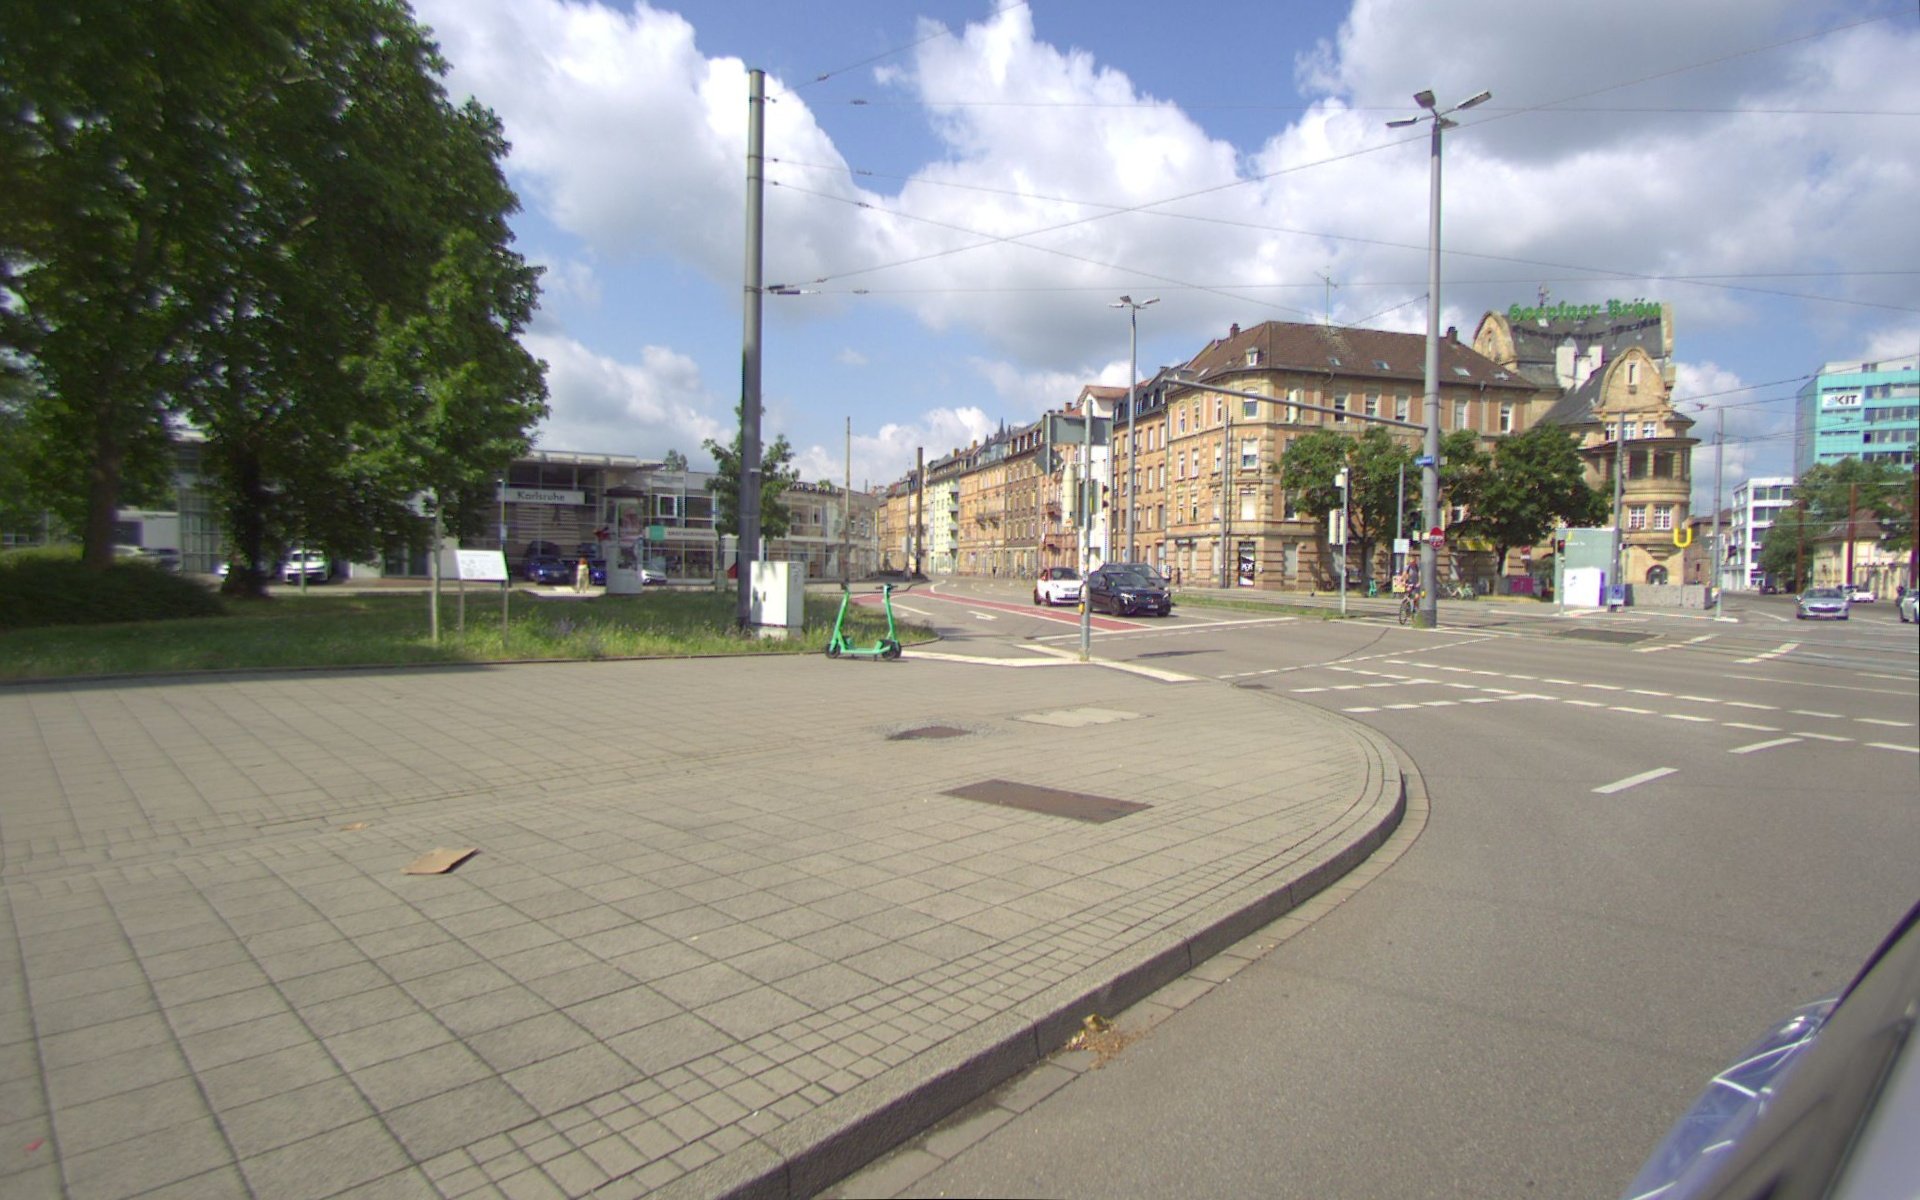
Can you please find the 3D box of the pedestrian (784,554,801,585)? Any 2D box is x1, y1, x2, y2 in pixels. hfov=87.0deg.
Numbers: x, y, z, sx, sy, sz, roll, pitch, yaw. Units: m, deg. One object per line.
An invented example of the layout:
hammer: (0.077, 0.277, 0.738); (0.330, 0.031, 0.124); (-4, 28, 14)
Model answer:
pedestrian: (-11.153, -2.040, 67.222); (0.699, 2.038, 0.860); (2, 2, 36)

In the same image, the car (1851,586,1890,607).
car: (93.972, -0.311, 104.483); (1.982, 2.039, 3.961); (2, 0, 28)

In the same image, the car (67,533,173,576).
car: (-44.745, -2.400, 54.010); (3.916, 2.039, 2.004); (2, 0, -24)

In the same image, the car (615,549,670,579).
car: (-19.416, -2.195, 61.758); (1.899, 1.704, 3.997); (2, 1, -38)

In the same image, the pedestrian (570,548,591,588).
pedestrian: (-19.208, -1.620, 51.201); (0.794, 2.038, 0.808); (0, 2, -34)

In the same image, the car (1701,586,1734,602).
car: (70.134, -0.566, 93.761); (1.854, 1.401, 3.958); (2, 0, 29)

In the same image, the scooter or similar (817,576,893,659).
scooter or similar: (-1.601, 0.258, 15.471); (1.047, 1.211, 0.381); (2, 0, 8)

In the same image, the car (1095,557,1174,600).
car: (6.828, -0.886, 39.994); (1.959, 1.593, 3.744); (1, 2, -9)

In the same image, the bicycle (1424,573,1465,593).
bicycle: (29.917, -1.041, 62.537); (0.745, 1.180, 2.691); (1, 2, -12)

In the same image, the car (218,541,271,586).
car: (-36.210, -1.841, 51.167); (1.963, 2.039, 3.998); (3, 0, -38)

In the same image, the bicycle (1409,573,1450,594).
bicycle: (28.898, -1.026, 62.328); (0.745, 1.180, 2.691); (1, 2, -12)

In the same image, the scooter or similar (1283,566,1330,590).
scooter or similar: (21.257, -1.335, 62.124); (1.155, 1.403, 2.810); (2, 0, -20)

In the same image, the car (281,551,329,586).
car: (-34.174, -1.658, 52.761); (1.758, 1.703, 3.999); (0, 2, -38)

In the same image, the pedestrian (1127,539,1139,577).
pedestrian: (14.388, -3.498, 84.137); (0.712, 3.114, 0.889); (2, 0, -5)

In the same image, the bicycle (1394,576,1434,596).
bicycle: (27.861, -0.884, 62.190); (0.745, 1.180, 2.691); (1, 2, -12)

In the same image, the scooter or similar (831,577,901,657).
scooter or similar: (-1.481, 0.263, 15.957); (1.044, 1.211, 0.382); (2, 0, -3)

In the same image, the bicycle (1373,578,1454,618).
bicycle: (13.119, -0.064, 29.295); (2.151, 1.084, 0.879); (2, 0, -23)

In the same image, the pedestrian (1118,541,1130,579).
pedestrian: (13.620, -3.320, 84.109); (0.655, 3.160, 0.889); (2, 0, -5)

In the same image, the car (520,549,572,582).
car: (-23.692, -1.974, 57.826); (1.962, 1.860, 4.002); (-1, 2, -34)

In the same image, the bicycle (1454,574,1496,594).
bicycle: (32.081, -0.982, 63.089); (0.745, 1.180, 2.691); (1, 2, -11)

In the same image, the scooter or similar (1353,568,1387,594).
scooter or similar: (25.340, -1.192, 62.519); (0.862, 1.500, 2.020); (1, 3, -14)

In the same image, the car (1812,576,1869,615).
car: (39.810, -0.178, 45.730); (1.832, 1.616, 3.938); (2, 0, 42)

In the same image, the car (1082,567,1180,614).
car: (5.468, -0.342, 32.845); (1.832, 1.393, 3.949); (1, 2, -11)

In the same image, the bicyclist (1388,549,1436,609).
bicyclist: (13.075, -0.602, 29.279); (1.124, 1.695, 0.616); (2, 0, -25)

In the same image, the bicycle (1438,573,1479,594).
bicycle: (30.931, -1.033, 62.830); (0.745, 1.180, 2.691); (1, 2, -12)

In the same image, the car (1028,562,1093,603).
car: (3.940, -0.694, 40.313); (1.656, 1.488, 3.662); (2, 0, -9)
